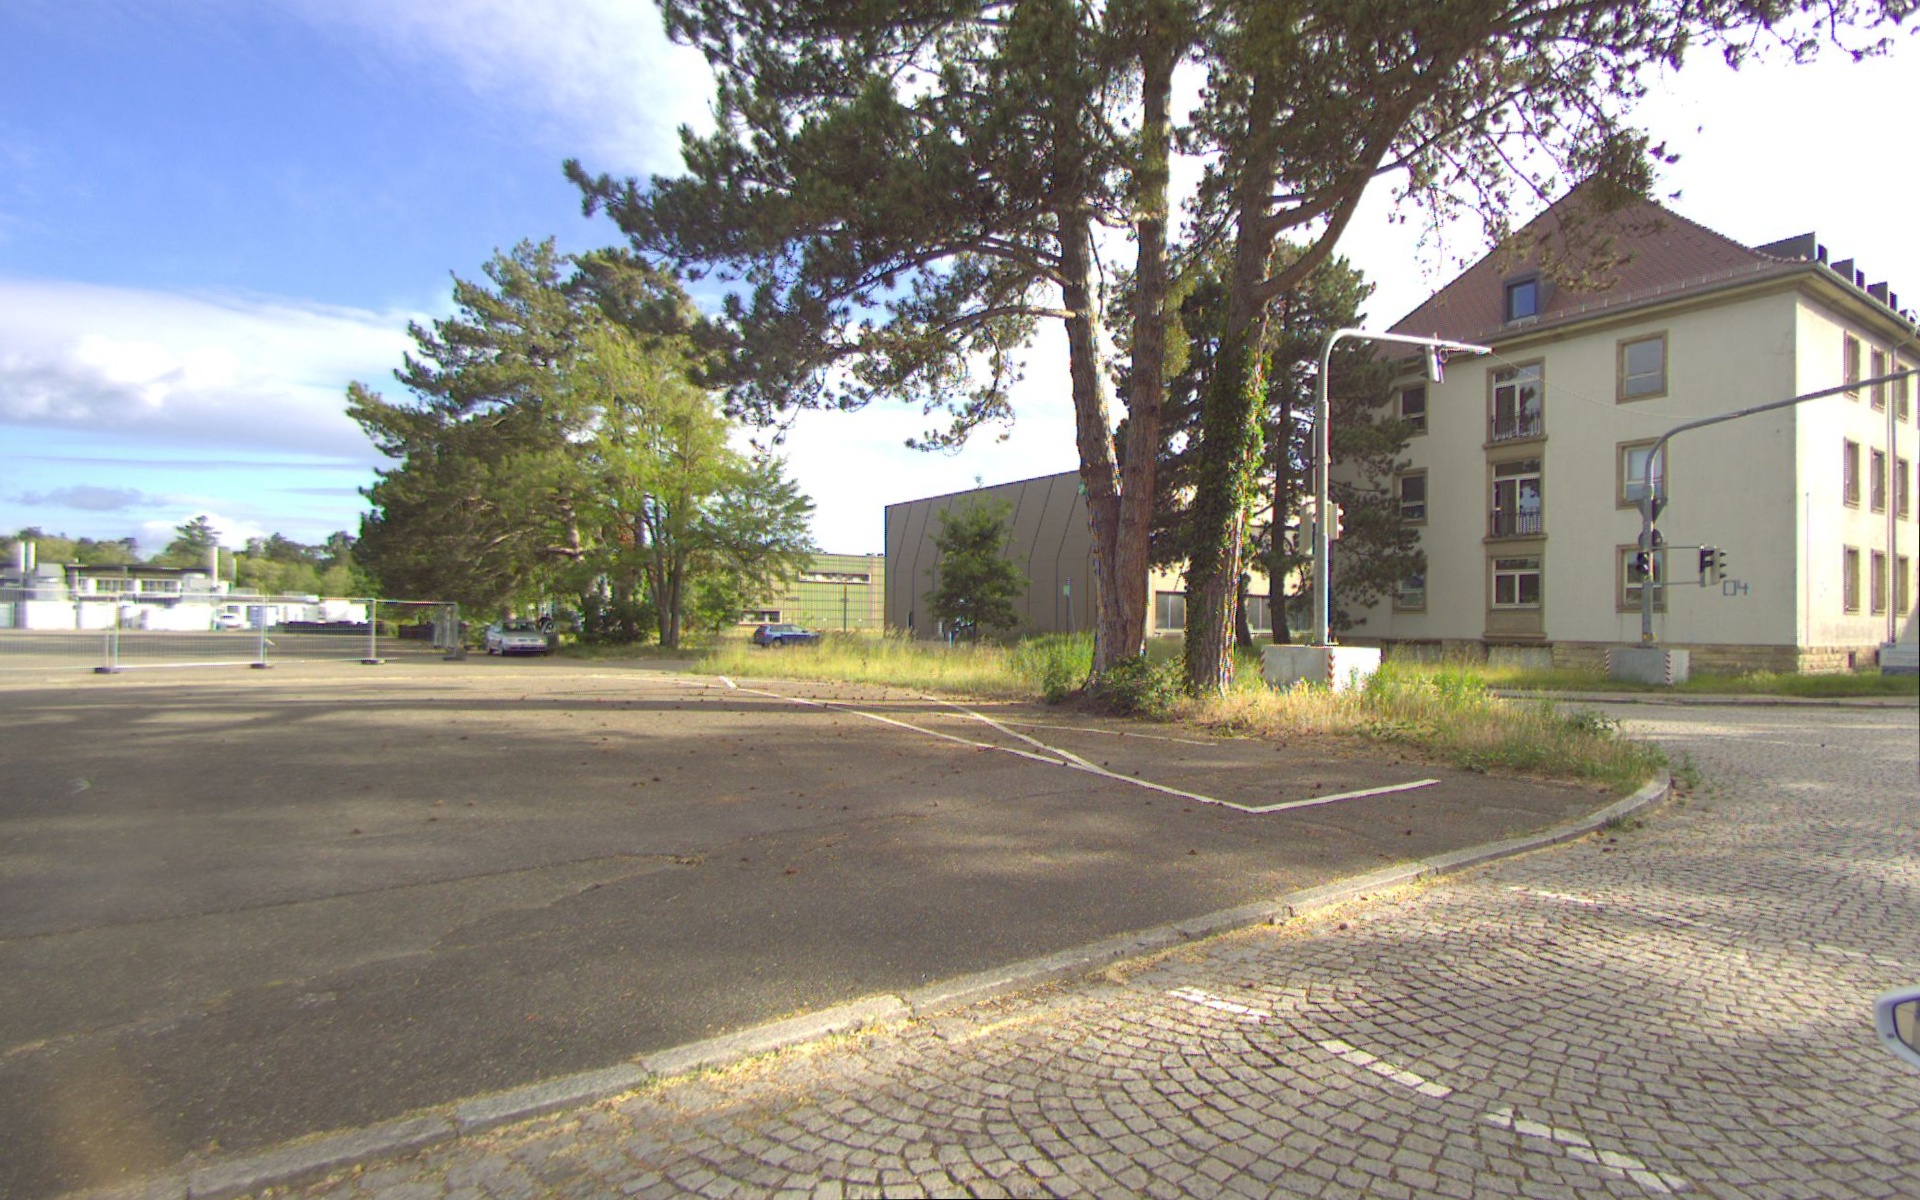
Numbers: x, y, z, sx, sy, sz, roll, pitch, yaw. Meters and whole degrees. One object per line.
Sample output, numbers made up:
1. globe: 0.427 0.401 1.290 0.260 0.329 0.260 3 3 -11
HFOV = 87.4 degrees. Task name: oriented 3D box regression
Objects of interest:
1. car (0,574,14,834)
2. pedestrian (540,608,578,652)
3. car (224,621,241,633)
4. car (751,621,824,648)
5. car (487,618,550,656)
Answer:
1. car: -5.165 0.678 3.694 1.885 1.475 4.554 0 2 -36
2. pedestrian: -16.347 1.225 40.958 0.862 1.767 1.095 1 -1 25
3. car: -107.049 3.994 147.706 1.840 1.694 4.154 2 -2 -38
4. car: -10.749 2.162 62.577 4.119 1.580 1.790 2 -2 -38
5. car: -17.659 1.465 40.055 1.648 1.400 3.963 2 -2 -33
